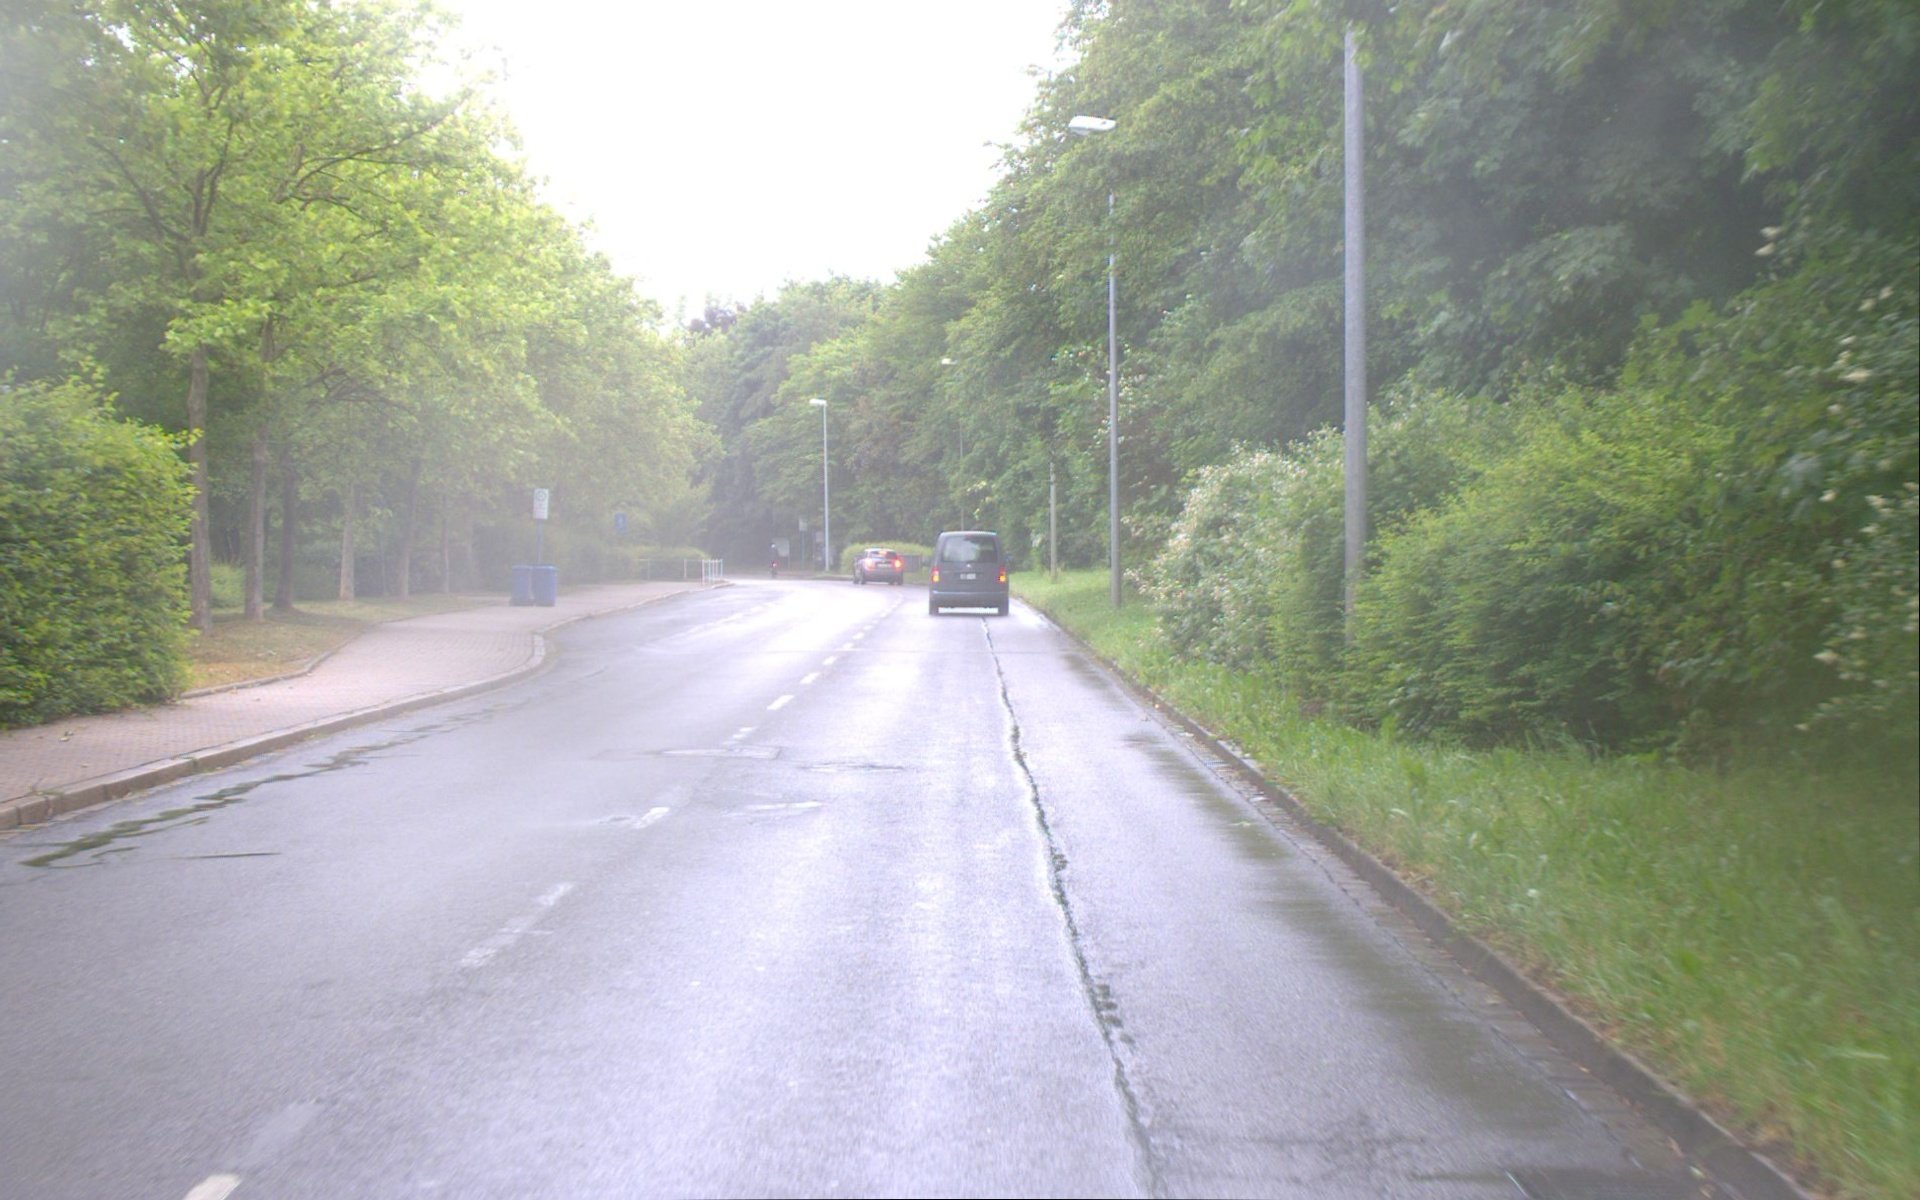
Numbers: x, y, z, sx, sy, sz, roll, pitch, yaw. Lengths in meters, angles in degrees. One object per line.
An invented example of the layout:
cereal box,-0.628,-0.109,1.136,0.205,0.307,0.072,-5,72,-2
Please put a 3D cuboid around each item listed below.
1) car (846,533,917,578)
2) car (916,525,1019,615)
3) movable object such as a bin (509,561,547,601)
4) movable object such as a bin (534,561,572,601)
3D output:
car,-3.234,-1.816,140.497,1.993,1.766,4.001,-1,1,-15
car,0.131,-0.689,76.060,1.993,1.787,4.001,2,2,-3
movable object such as a bin,-11.449,-0.503,91.049,0.666,1.023,0.835,-3,1,-31
movable object such as a bin,-10.827,-0.512,91.407,0.666,1.023,0.835,-3,1,-31
